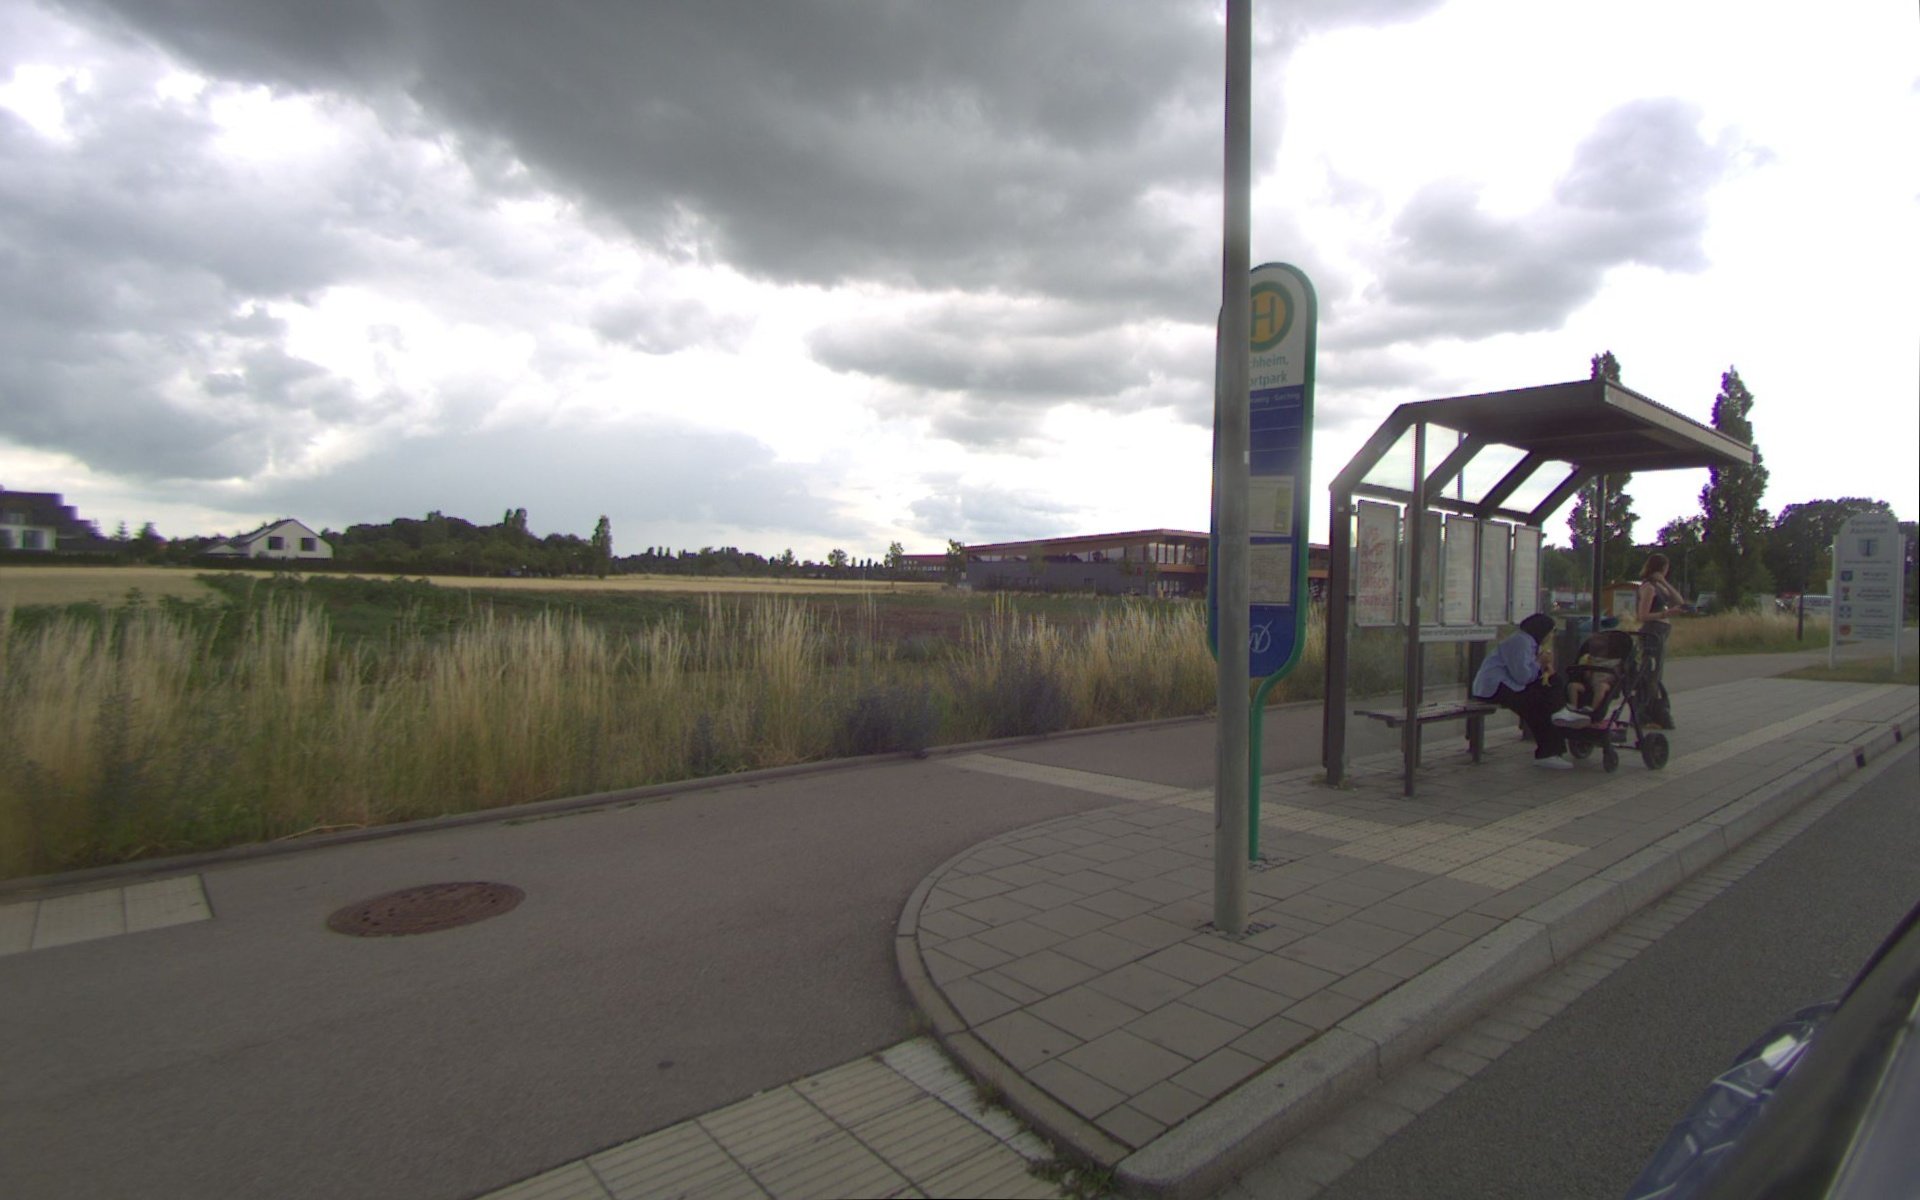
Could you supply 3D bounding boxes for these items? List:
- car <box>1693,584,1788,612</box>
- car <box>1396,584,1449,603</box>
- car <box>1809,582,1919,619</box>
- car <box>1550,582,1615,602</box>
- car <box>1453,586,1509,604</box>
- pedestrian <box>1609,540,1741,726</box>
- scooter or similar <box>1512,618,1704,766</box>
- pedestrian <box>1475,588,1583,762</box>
[{"bbox_3d":[58.506,-0.122,75.952,5.508,2.039,1.969,0,0,43],"label":"car"},{"bbox_3d":[49.041,-0.694,107.331,4.838,2.039,1.970,0,0,42],"label":"car"},{"bbox_3d":[53.076,0.020,58.929,1.965,2.039,5.310,0,0,-40],"label":"car"},{"bbox_3d":[64.490,-0.811,104.866,5.508,2.039,1.969,0,0,43],"label":"car"},{"bbox_3d":[60.301,-0.616,117.185,5.508,2.039,1.969,0,0,43],"label":"car"},{"bbox_3d":[7.301,0.317,10.353,0.763,1.815,0.785,0,-1,-20],"label":"pedestrian"},{"bbox_3d":[5.054,0.691,7.940,1.039,1.075,0.709,0,0,-4],"label":"scooter or similar"},{"bbox_3d":[4.542,0.568,8.079,0.663,1.319,0.498,-1,-1,40],"label":"pedestrian"}]
